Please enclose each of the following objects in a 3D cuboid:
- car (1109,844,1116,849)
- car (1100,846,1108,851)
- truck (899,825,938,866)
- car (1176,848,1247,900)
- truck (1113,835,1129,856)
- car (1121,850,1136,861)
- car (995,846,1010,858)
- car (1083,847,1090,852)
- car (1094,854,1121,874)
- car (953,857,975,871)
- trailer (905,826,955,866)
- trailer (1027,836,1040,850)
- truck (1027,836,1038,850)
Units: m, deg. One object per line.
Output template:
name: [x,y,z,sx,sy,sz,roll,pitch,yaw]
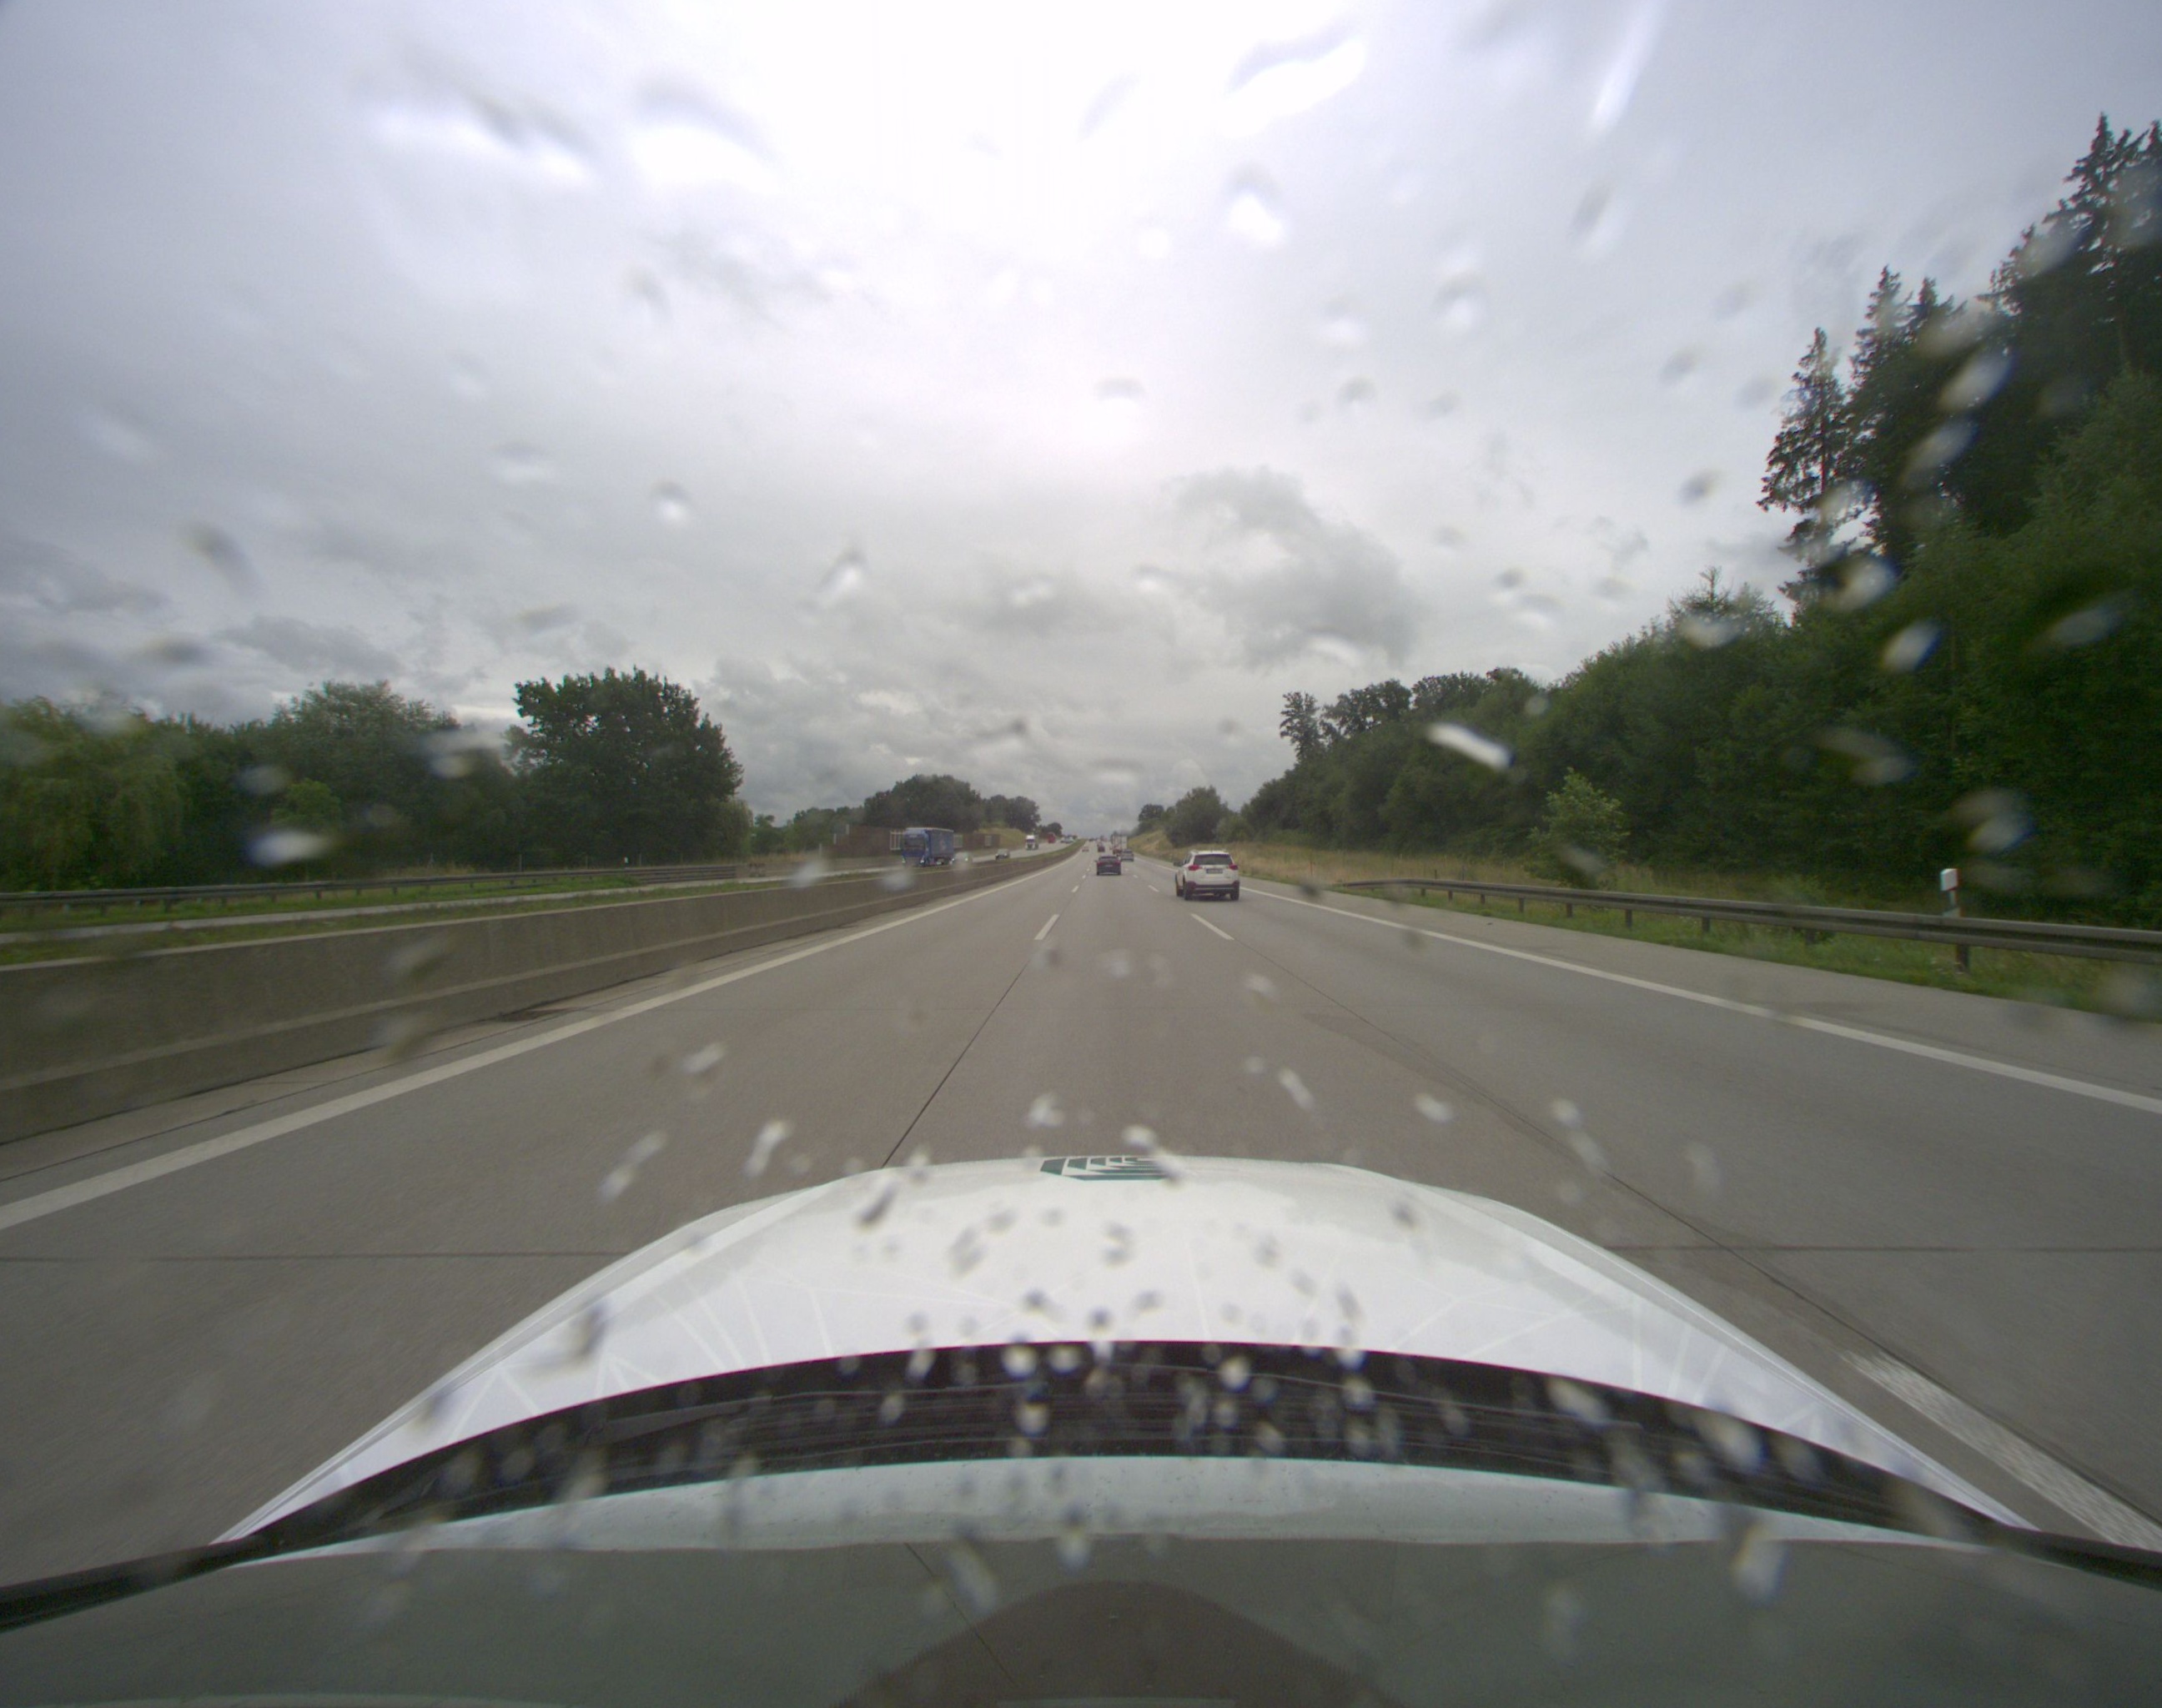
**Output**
car: [9.558,-2.262,245.488,1.985,1.640,4.004,0,0,3]
car: [5.823,-1.386,208.382,1.927,1.375,4.597,0,-1,2]
truck: [-16.932,-0.817,85.306,2.681,4.189,6.212,0,-1,2]
car: [4.377,0.649,27.905,1.820,1.655,3.985,0,0,0]
truck: [7.930,-1.728,163.204,3.007,4.180,8.356,0,0,1]
car: [6.704,0.182,115.172,1.986,1.530,4.002,0,0,2]
car: [-11.968,-0.284,124.409,1.810,1.767,4.732,0,0,0]
car: [1.472,-1.246,221.977,1.940,1.356,4.262,0,1,2]
car: [1.866,0.758,58.240,1.747,1.398,4.482,0,-2,-1]
car: [-12.642,1.074,88.194,1.631,1.500,4.517,0,-1,0]
trailer: [-16.794,-0.720,91.539,2.700,4.208,13.795,0,-1,1]
trailer: [-13.652,-3.203,236.251,2.687,4.095,14.007,0,0,1]
truck: [-13.764,-3.104,229.869,2.673,4.083,6.218,0,0,1]
